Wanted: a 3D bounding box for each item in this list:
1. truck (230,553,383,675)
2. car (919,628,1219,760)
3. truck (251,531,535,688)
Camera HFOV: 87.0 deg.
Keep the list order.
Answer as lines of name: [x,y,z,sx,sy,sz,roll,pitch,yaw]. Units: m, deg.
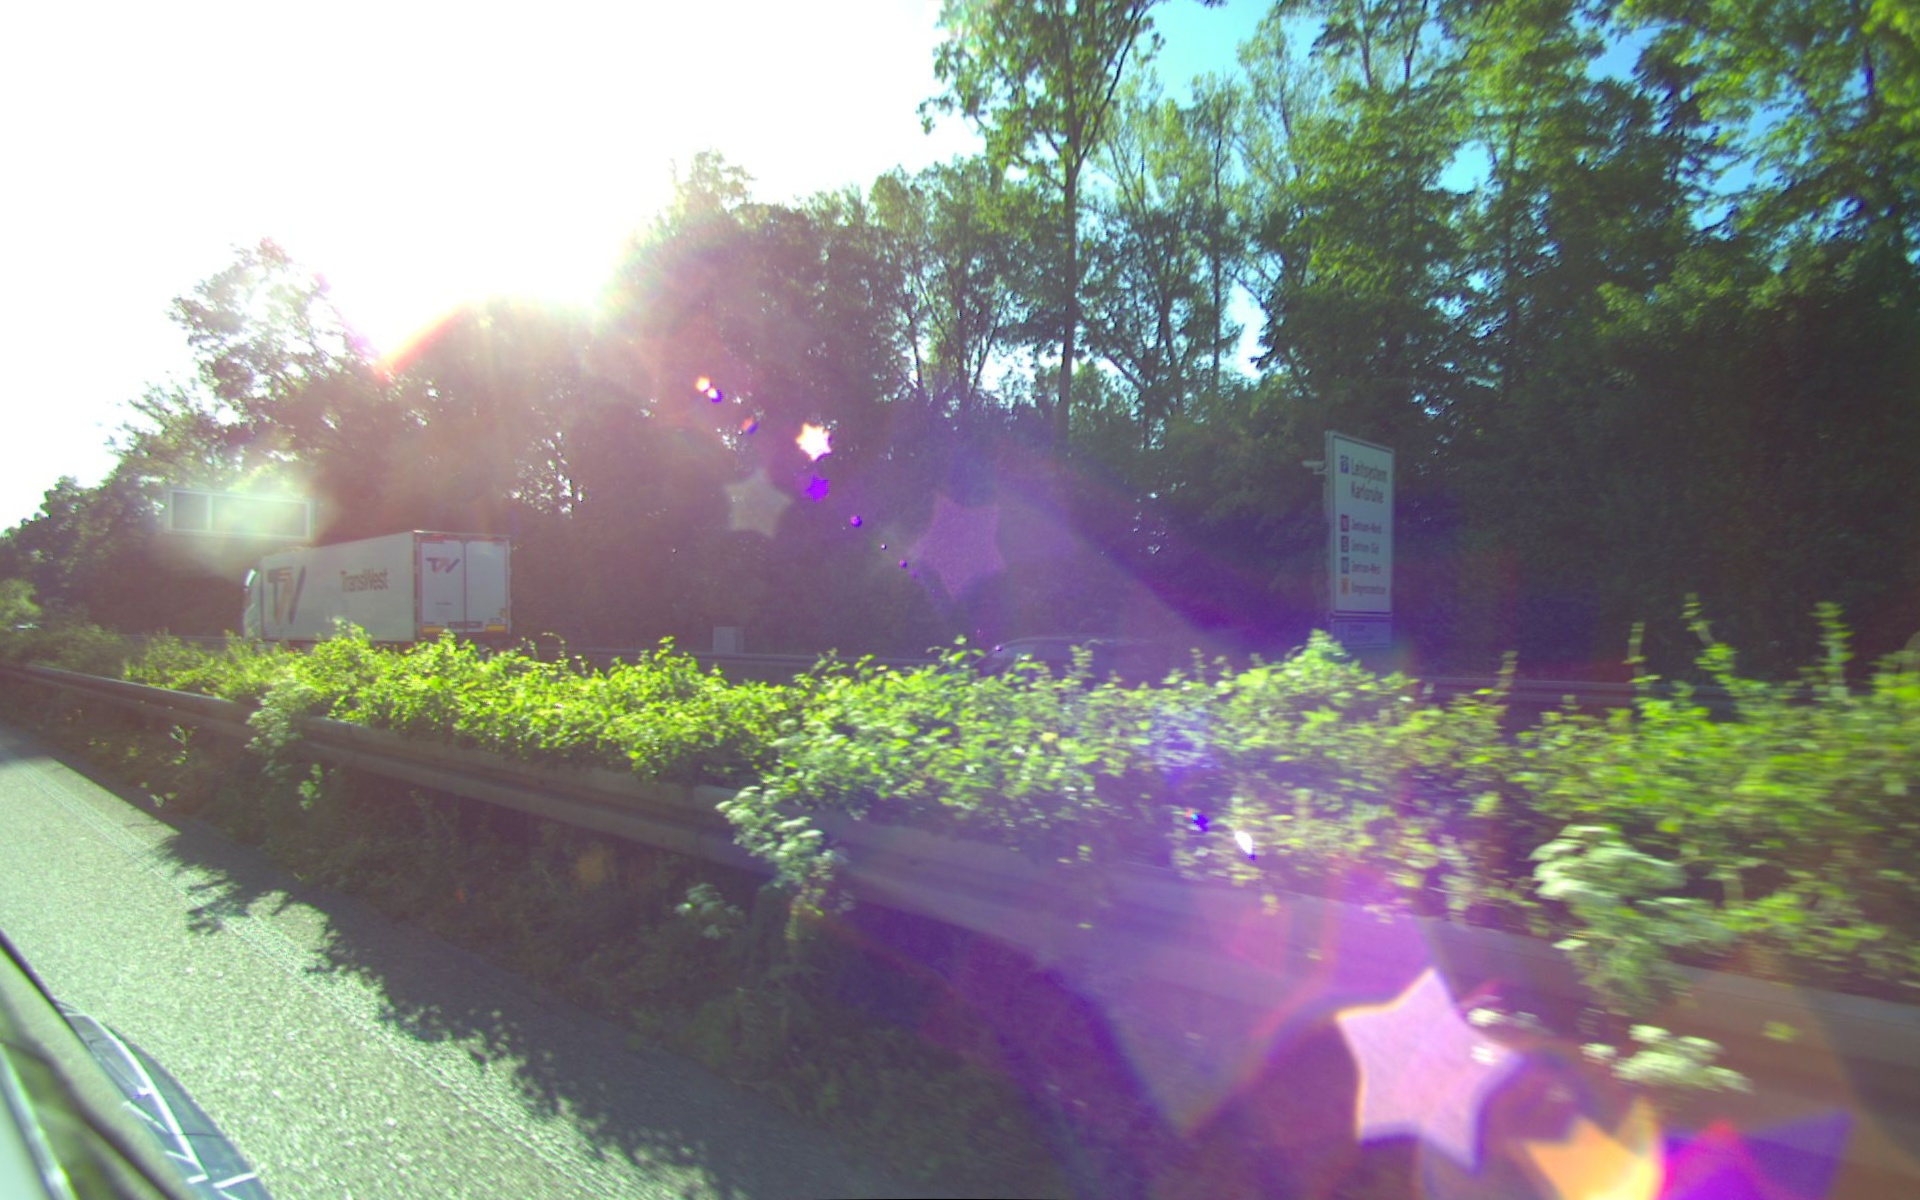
truck: [-23.753,0.509,36.724,5.673,4.043,3.195,-2,-1,41]
car: [1.414,1.171,13.905,3.790,1.484,1.745,-1,0,41]
truck: [-18.472,0.370,32.075,14.443,4.043,3.210,-2,-1,41]
